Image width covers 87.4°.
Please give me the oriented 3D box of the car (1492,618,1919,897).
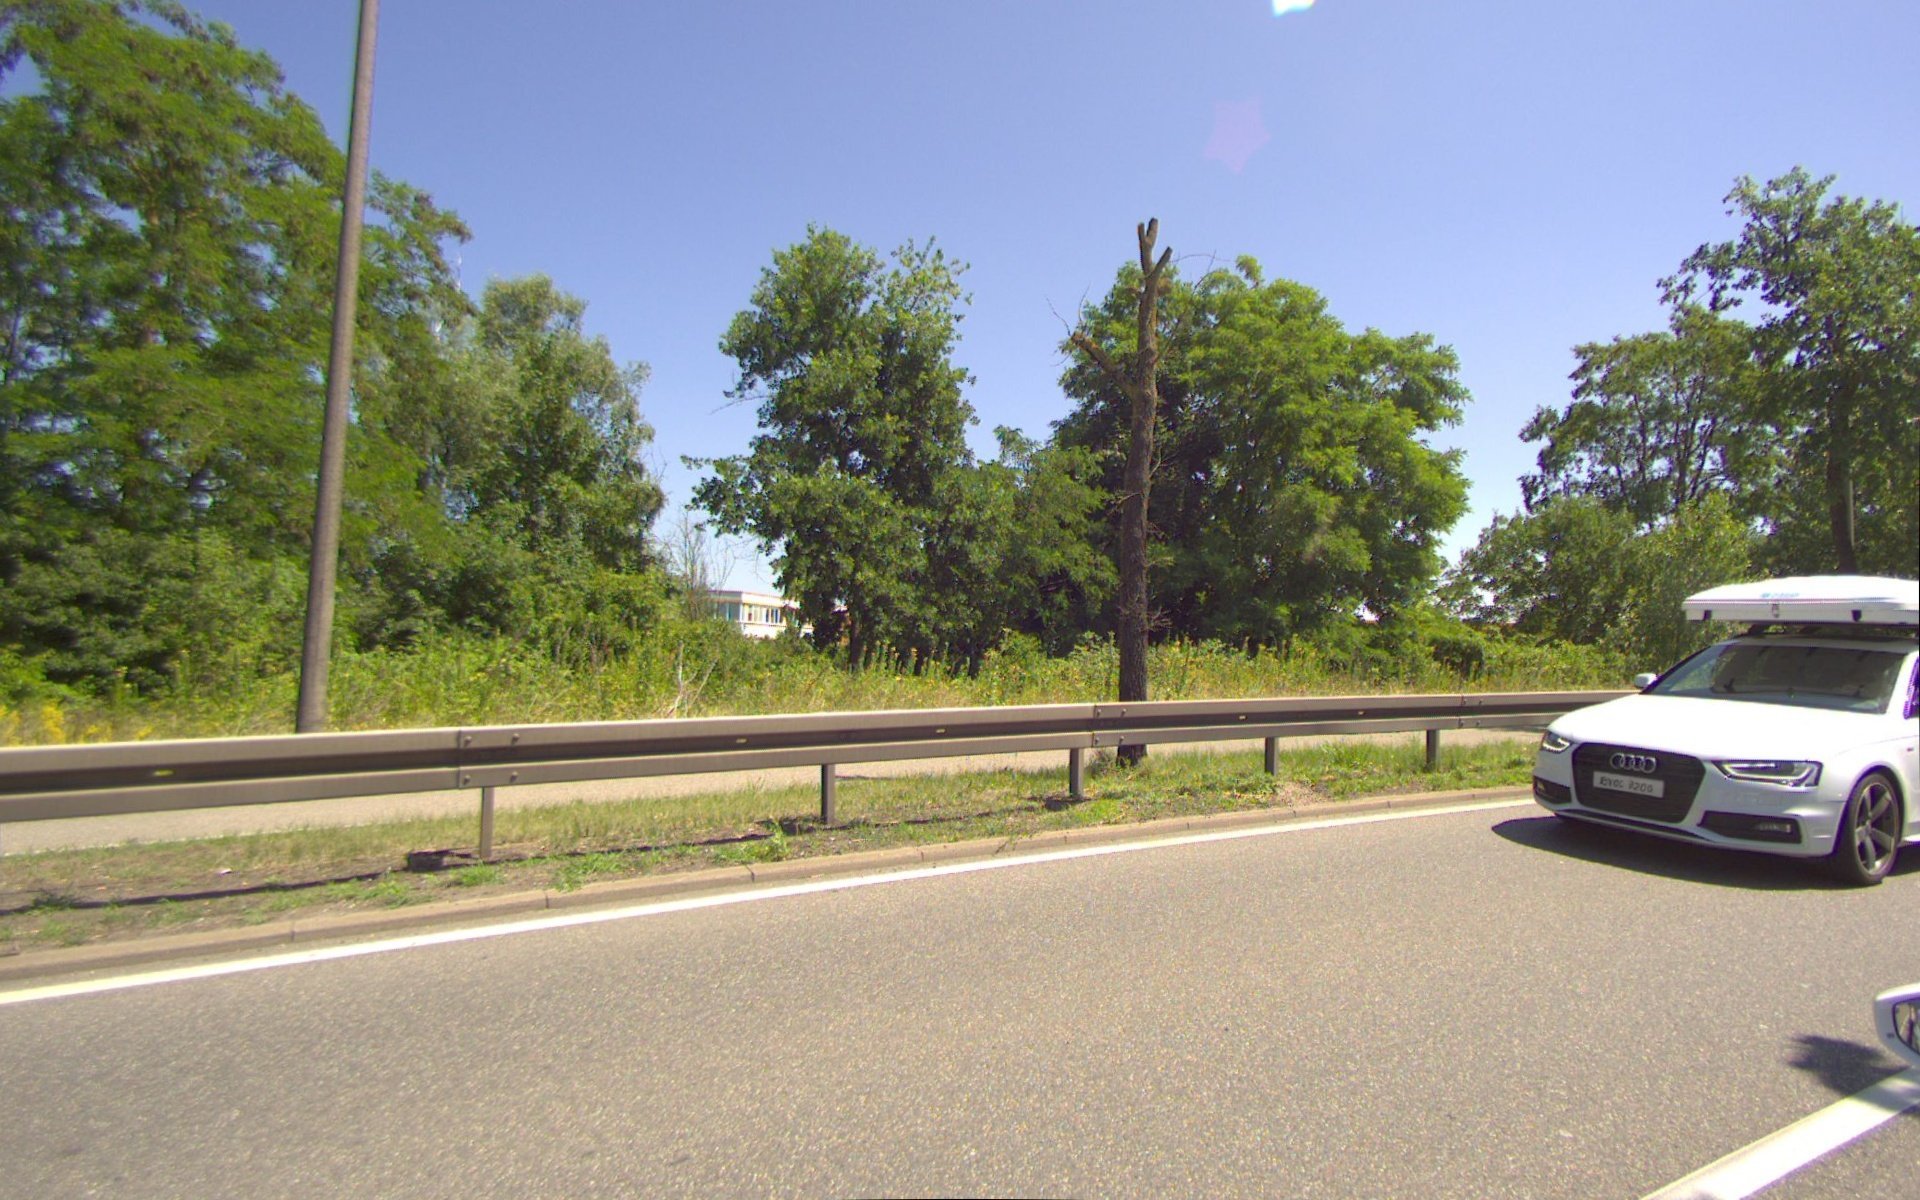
[{"bbox_3d":[6.071,0.905,7.126,4.407,1.440,1.813,1,0,-26],"label":"car"}]
